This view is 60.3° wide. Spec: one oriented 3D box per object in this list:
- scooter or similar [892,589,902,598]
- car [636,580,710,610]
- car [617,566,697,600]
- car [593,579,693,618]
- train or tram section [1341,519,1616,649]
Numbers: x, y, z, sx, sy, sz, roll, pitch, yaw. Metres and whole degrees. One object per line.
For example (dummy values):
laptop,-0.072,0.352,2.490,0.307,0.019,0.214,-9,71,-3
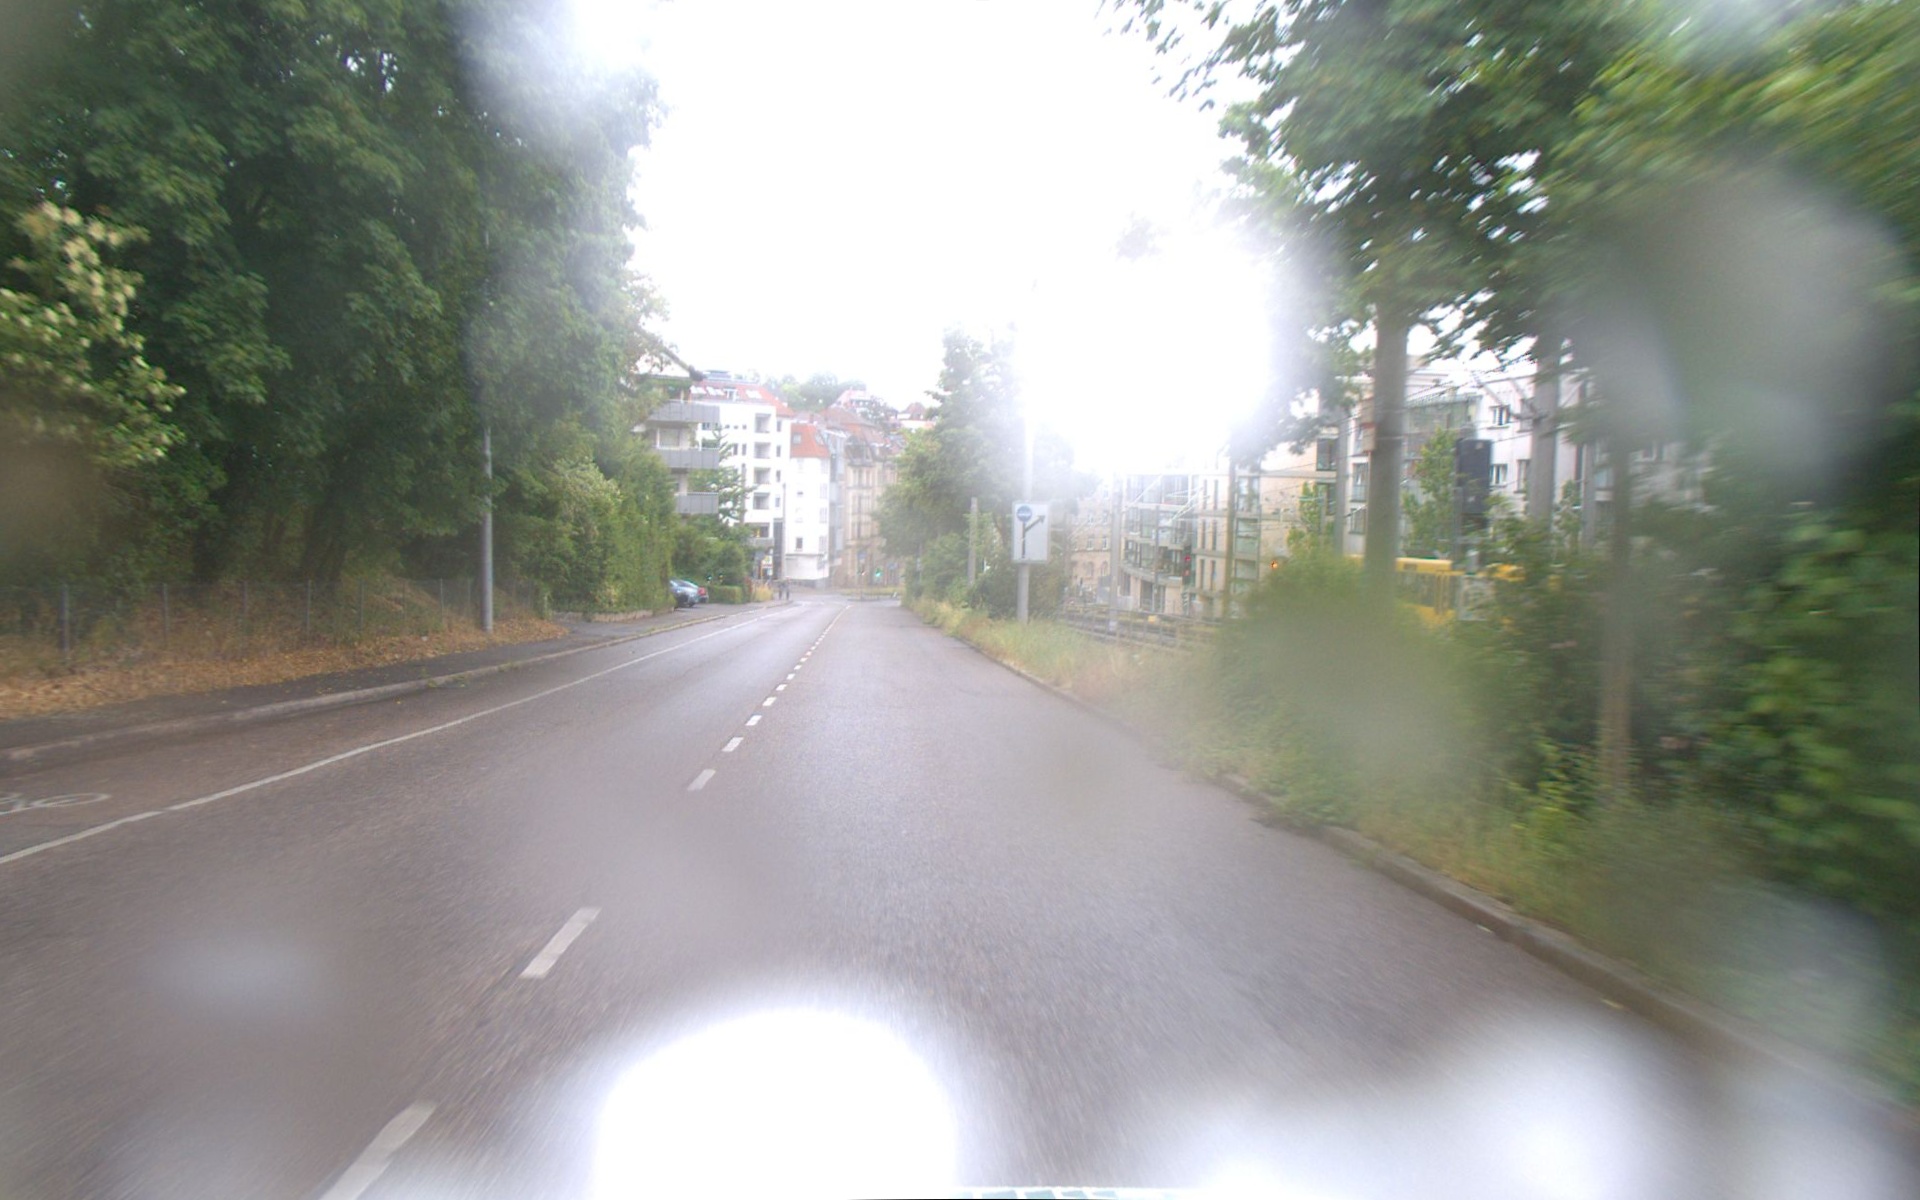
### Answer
scooter or similar,-6.175,-0.630,161.624,0.475,0.775,1.329,1,0,24
car,-15.175,-0.271,87.496,3.558,1.431,1.783,2,0,-2
car,-15.546,-0.861,85.100,3.912,1.587,1.877,2,0,-8
car,-14.796,-0.089,77.303,4.361,1.630,1.813,2,1,-4
train or tram section,18.706,-0.574,62.096,3.265,4.016,18.800,2,0,-3
